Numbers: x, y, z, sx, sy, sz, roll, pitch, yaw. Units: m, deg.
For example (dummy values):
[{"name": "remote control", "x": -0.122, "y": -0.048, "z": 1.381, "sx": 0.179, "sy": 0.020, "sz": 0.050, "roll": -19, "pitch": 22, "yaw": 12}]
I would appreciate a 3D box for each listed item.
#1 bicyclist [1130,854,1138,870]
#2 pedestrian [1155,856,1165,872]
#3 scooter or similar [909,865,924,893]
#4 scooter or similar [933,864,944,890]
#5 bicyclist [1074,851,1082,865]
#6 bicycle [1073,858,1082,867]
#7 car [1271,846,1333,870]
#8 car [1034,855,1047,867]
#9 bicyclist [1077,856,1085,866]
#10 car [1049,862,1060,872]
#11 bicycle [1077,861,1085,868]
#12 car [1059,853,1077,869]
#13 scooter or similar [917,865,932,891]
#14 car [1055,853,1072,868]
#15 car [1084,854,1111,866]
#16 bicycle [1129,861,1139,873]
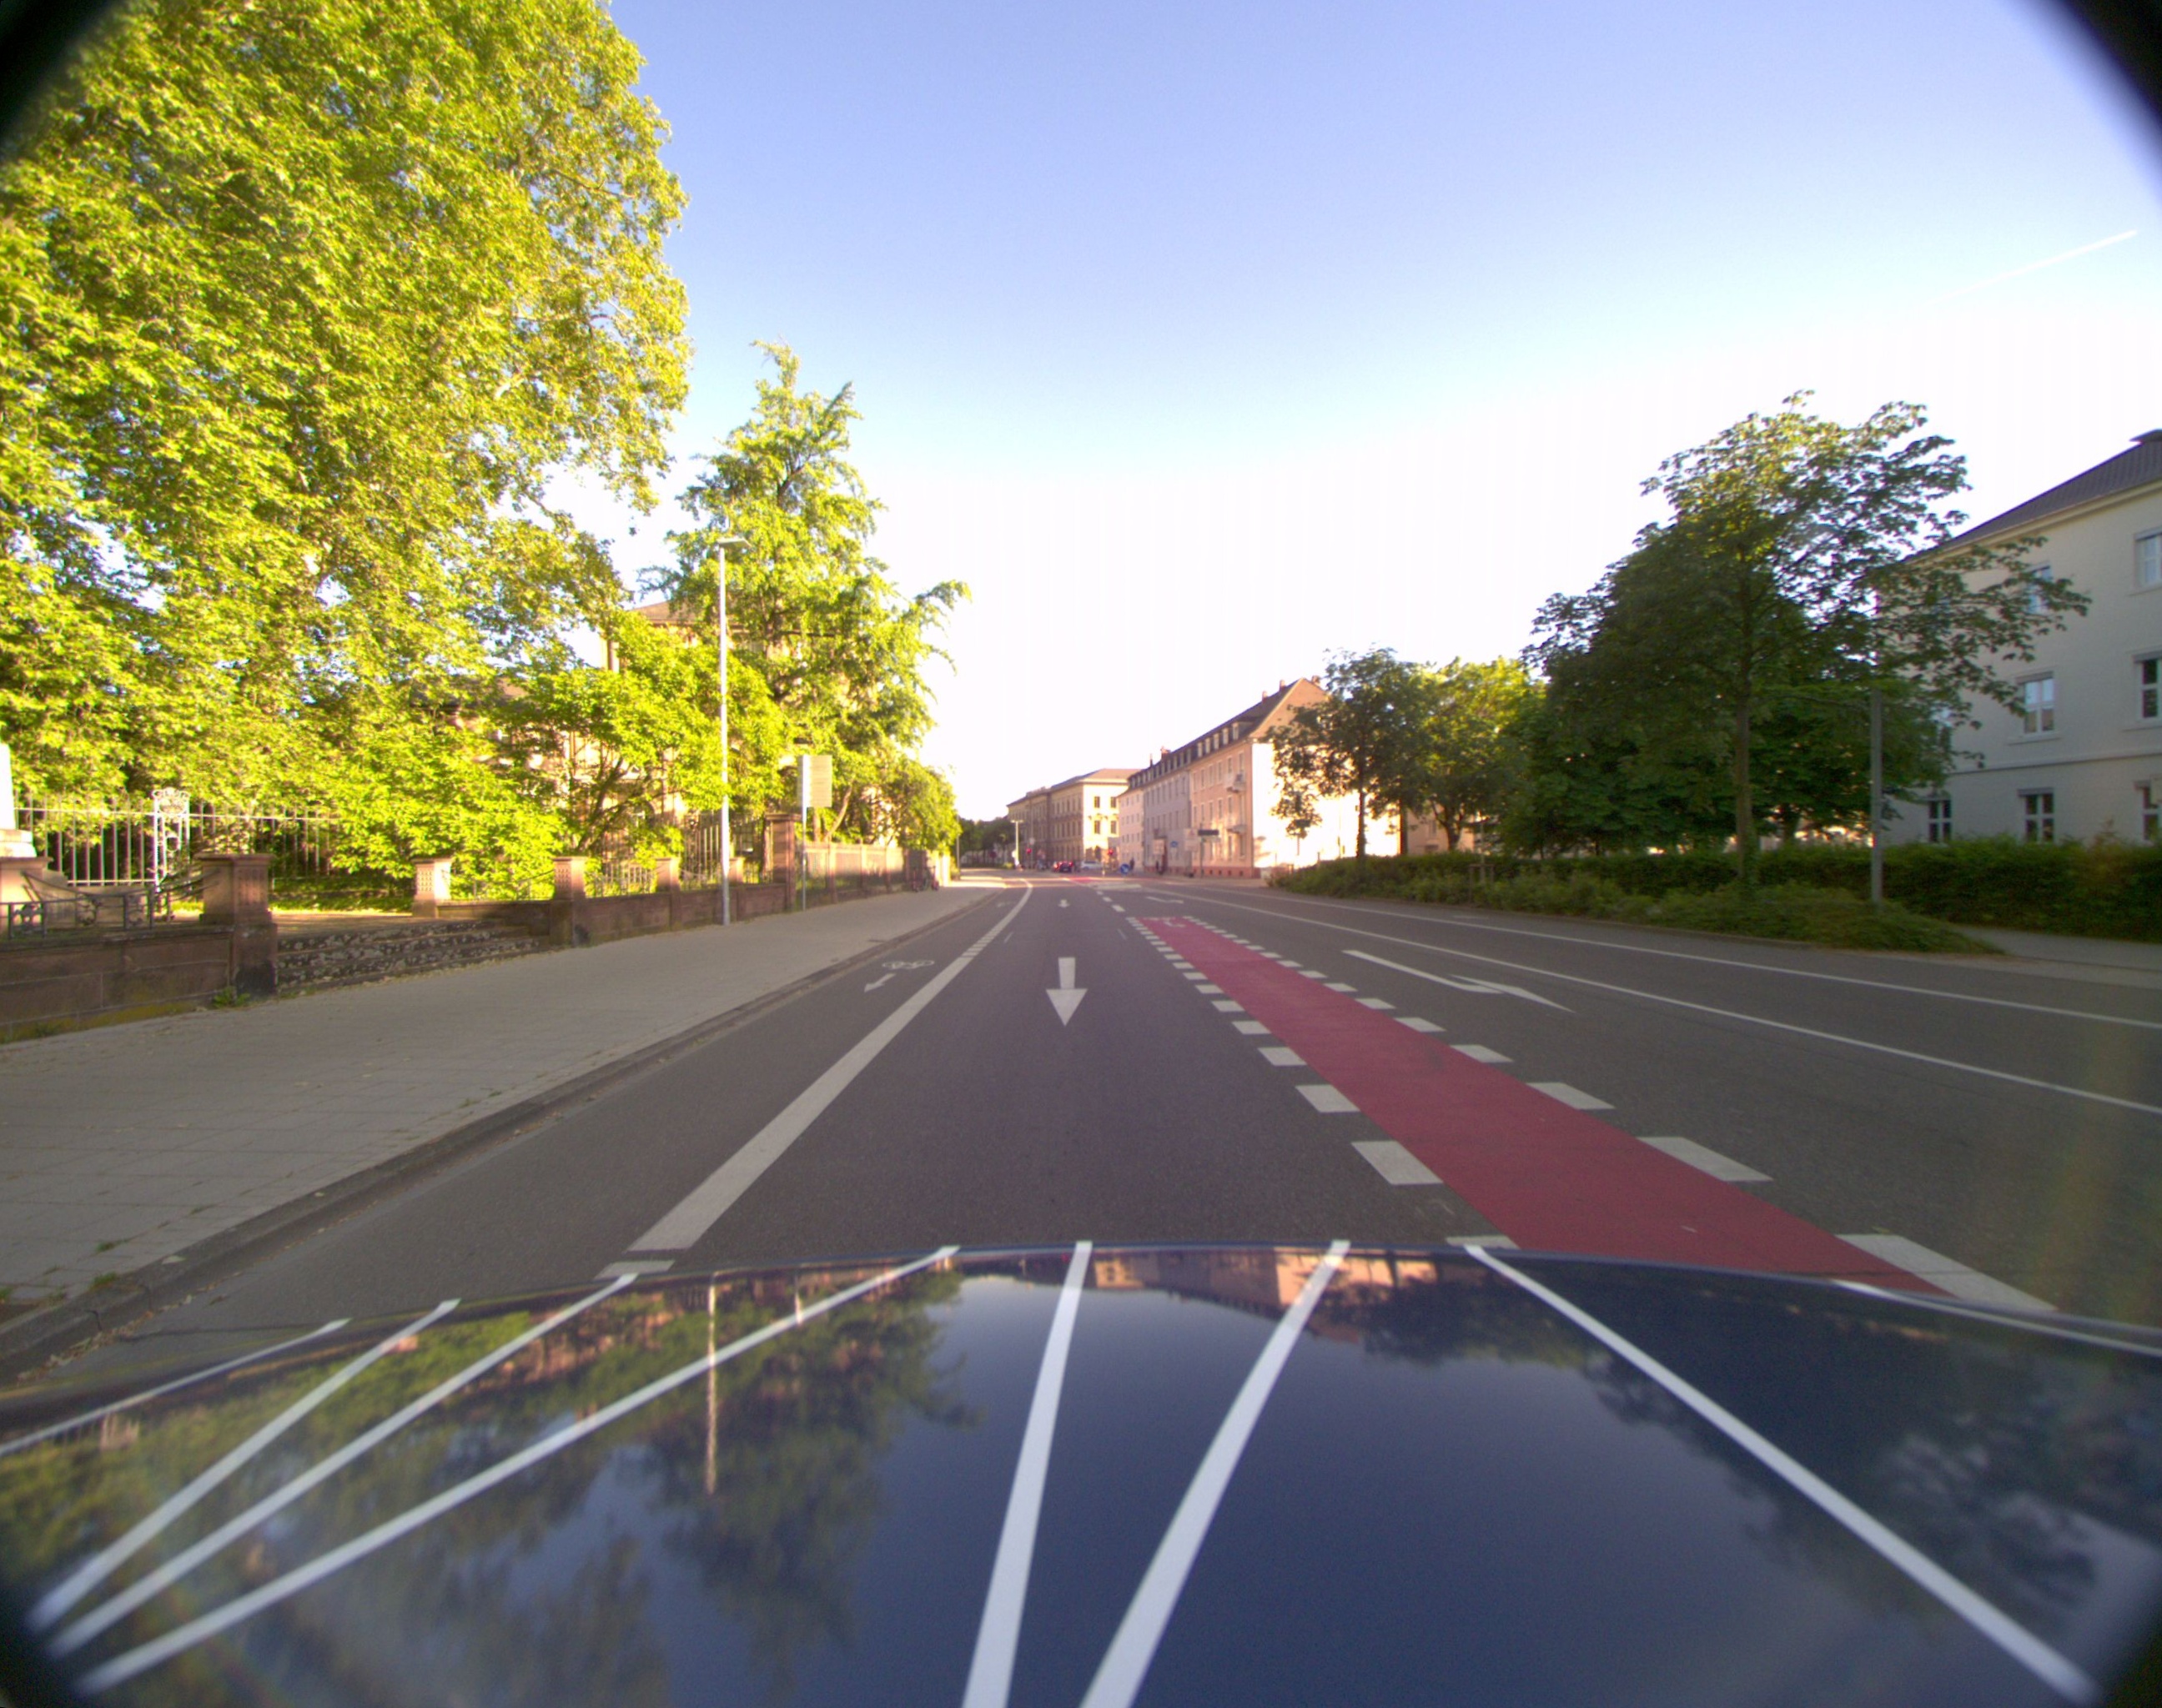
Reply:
[{"name": "bicyclist", "x": 5.100, "y": 0.788, "z": 73.399, "sx": 0.691, "sy": 1.553, "sz": 0.838, "roll": 1, "pitch": 0, "yaw": -3}, {"name": "pedestrian", "x": 9.406, "y": 1.191, "z": 90.748, "sx": 0.949, "sy": 1.894, "sz": 1.062, "roll": -2, "pitch": 1, "yaw": -7}, {"name": "scooter or similar", "x": -7.547, "y": 1.132, "z": 34.841, "sx": 0.577, "sy": 1.246, "sz": 1.486, "roll": 0, "pitch": 0, "yaw": -15}, {"name": "scooter or similar", "x": -7.087, "y": 1.136, "z": 37.776, "sx": 0.517, "sy": 1.233, "sz": 1.521, "roll": 0, "pitch": 0, "yaw": -11}, {"name": "bicyclist", "x": -0.486, "y": 0.523, "z": 108.943, "sx": 0.956, "sy": 2.002, "sz": 1.307, "roll": 0, "pitch": 0, "yaw": -9}, {"name": "bicycle", "x": -0.523, "y": 1.180, "z": 109.026, "sx": 0.956, "sy": 1.216, "sz": 2.776, "roll": 0, "pitch": 0, "yaw": -9}, {"name": "car", "x": 16.735, "y": 0.275, "z": 57.571, "sx": 4.000, "sy": 1.652, "sz": 1.998, "roll": -2, "pitch": 1, "yaw": -9}, {"name": "car", "x": -6.724, "y": 1.176, "z": 127.909, "sx": 1.867, "sy": 1.871, "sz": 4.000, "roll": -2, "pitch": 1, "yaw": 1}, {"name": "bicyclist", "x": 0.019, "y": 0.955, "z": 104.121, "sx": 1.026, "sy": 1.481, "sz": 0.870, "roll": 0, "pitch": 0, "yaw": -9}, {"name": "car", "x": -4.521, "y": 2.205, "z": 128.162, "sx": 1.638, "sy": 1.478, "sz": 3.701, "roll": -2, "pitch": 1, "yaw": -5}, {"name": "bicycle", "x": 0.031, "y": 1.478, "z": 104.059, "sx": 0.663, "sy": 0.907, "sz": 2.861, "roll": 0, "pitch": 0, "yaw": -9}, {"name": "car", "x": -1.620, "y": 0.842, "z": 96.199, "sx": 1.999, "sy": 2.002, "sz": 3.998, "roll": 0, "pitch": 0, "yaw": -5}, {"name": "scooter or similar", "x": -7.561, "y": 1.146, "z": 36.694, "sx": 0.576, "sy": 1.177, "sz": 1.487, "roll": 0, "pitch": 0, "yaw": -7}, {"name": "car", "x": -2.395, "y": 0.879, "z": 101.888, "sx": 1.999, "sy": 2.002, "sz": 3.998, "roll": 0, "pitch": 0, "yaw": -5}, {"name": "car", "x": 2.717, "y": 0.969, "z": 127.333, "sx": 4.513, "sy": 2.093, "sz": 2.000, "roll": 0, "pitch": 0, "yaw": -1}, {"name": "bicycle", "x": 5.095, "y": 1.252, "z": 73.424, "sx": 0.697, "sy": 1.152, "sz": 2.245, "roll": 1, "pitch": 0, "yaw": -3}]
